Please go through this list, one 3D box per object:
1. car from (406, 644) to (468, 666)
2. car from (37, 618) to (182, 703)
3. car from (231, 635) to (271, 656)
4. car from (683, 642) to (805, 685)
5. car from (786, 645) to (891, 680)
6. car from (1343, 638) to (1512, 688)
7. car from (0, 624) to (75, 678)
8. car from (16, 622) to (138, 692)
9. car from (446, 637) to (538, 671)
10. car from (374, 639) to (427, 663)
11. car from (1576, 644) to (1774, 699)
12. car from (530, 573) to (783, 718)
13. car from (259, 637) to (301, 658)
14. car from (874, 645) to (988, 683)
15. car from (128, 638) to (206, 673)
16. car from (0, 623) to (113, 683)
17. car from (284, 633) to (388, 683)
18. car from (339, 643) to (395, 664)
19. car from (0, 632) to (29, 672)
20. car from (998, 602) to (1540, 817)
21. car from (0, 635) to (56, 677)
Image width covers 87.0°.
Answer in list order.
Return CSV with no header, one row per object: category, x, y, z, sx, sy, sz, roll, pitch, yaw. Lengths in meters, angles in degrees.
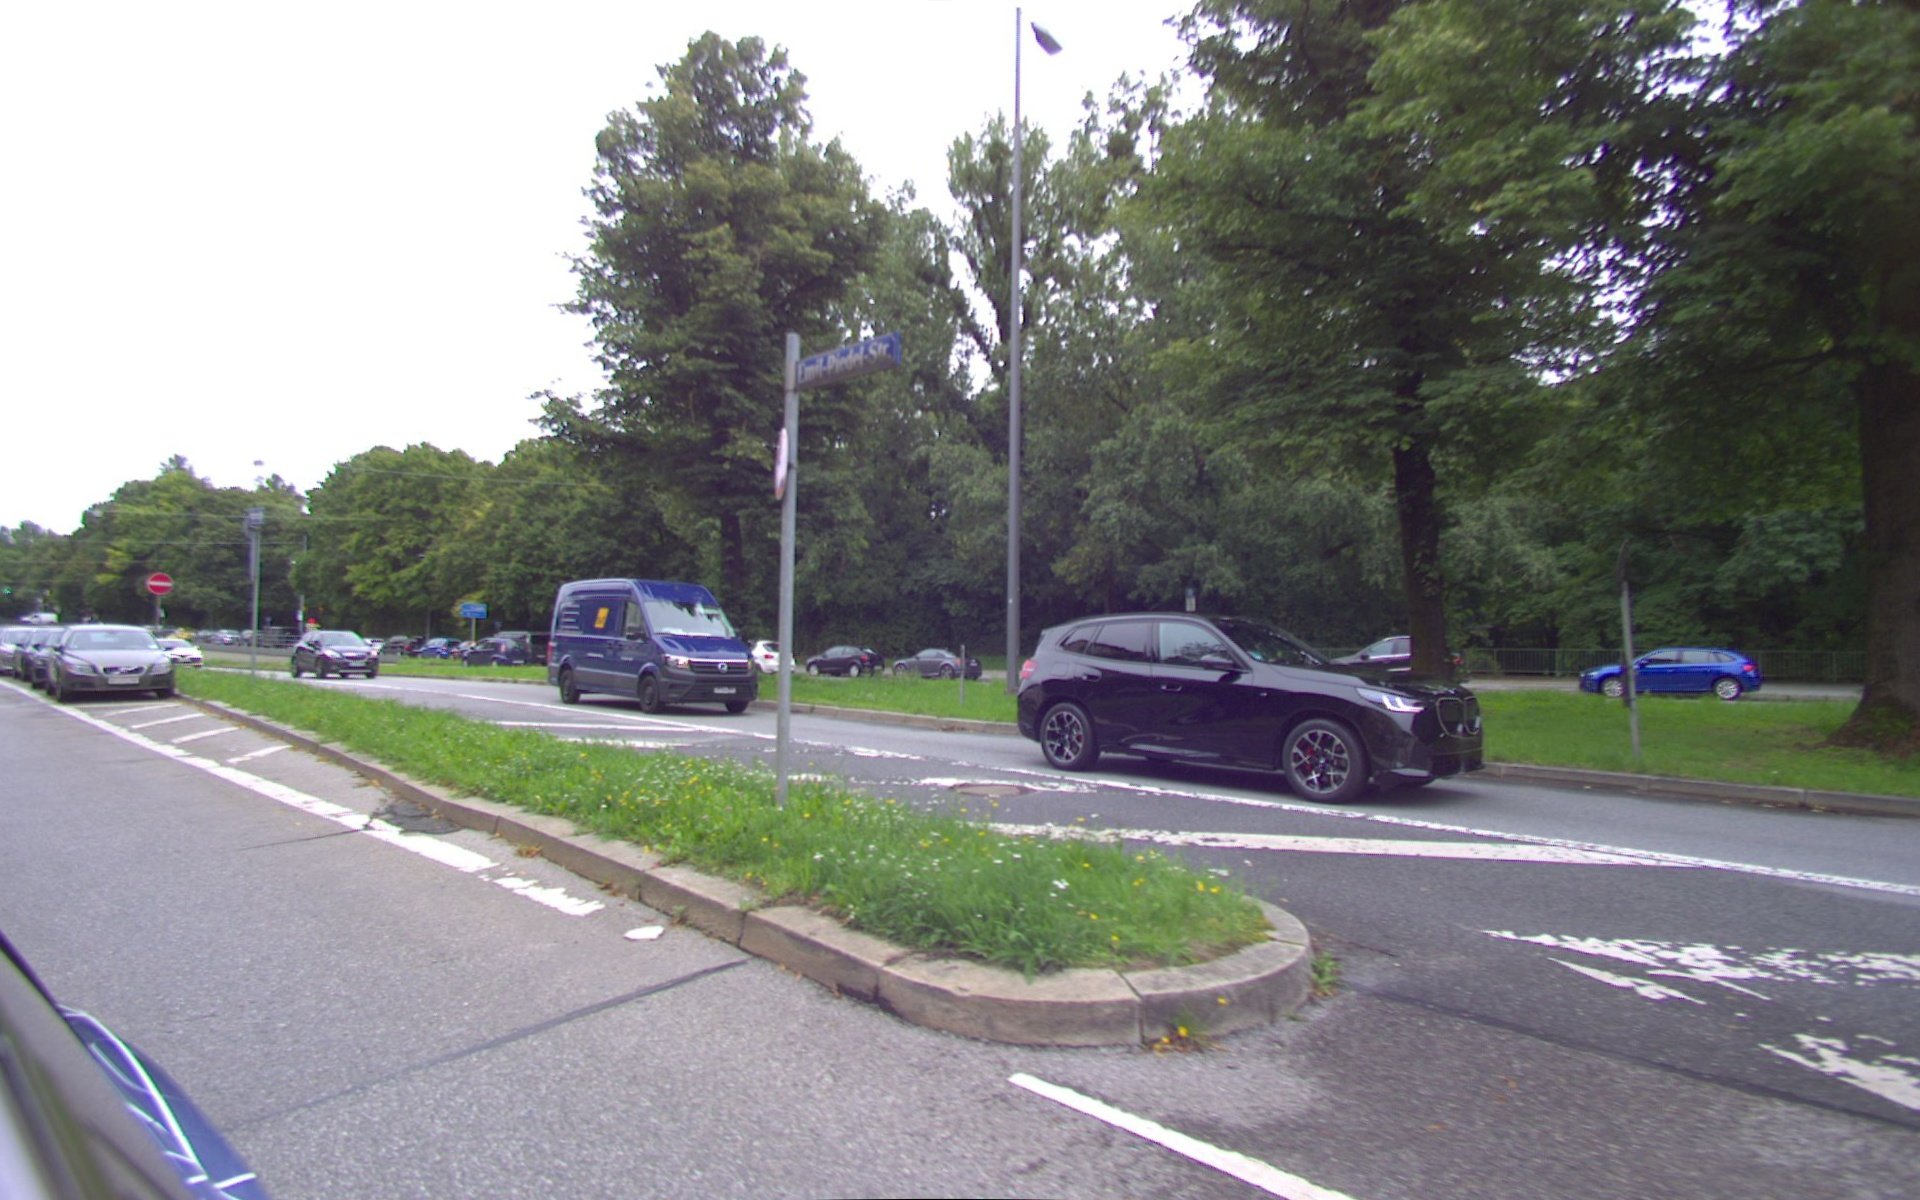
car,-35.556,3.729,68.736,4.308,1.457,1.976,-1,-4,36
car,-17.854,1.214,21.163,1.877,1.577,4.773,3,-3,-45
car,-63.136,4.019,90.084,3.996,1.759,1.843,-1,-3,39
car,-7.788,2.258,36.403,4.223,1.457,1.813,-1,-4,32
car,-5.489,2.777,45.469,4.516,1.457,1.976,-1,-4,36
car,14.834,1.974,32.196,4.749,1.457,1.980,-1,-4,30
car,-29.444,1.581,31.823,4.283,1.577,1.965,-2,-3,43
car,-21.968,1.369,25.113,1.964,1.577,4.285,3,-3,-45
car,-21.141,2.428,45.730,4.020,1.457,1.877,-1,-3,32
car,-39.768,3.581,71.897,3.995,1.569,1.888,0,-2,39
car,20.383,2.017,29.127,4.404,1.457,1.980,-1,-4,29
car,-6.171,0.829,20.092,5.852,2.482,2.159,-1,-2,44
car,-57.700,3.991,85.836,3.996,1.759,1.861,-1,-3,39
car,-1.240,2.665,42.381,4.516,1.457,1.976,-1,-4,36
car,-38.663,2.672,49.288,4.649,1.577,1.968,-1,-3,39
car,-25.624,1.468,28.578,4.281,1.577,1.966,-2,-3,42
car,-21.821,1.979,35.351,4.272,1.640,1.966,-2,-3,42
car,-44.132,3.980,75.312,4.308,1.457,1.976,-1,-4,36
car,-37.640,1.974,38.894,4.275,1.467,1.969,-1,-3,37
car,2.762,0.940,10.011,1.890,1.598,4.835,5,-5,-42
car,-33.513,1.944,35.716,4.278,1.380,1.744,-1,-3,39
